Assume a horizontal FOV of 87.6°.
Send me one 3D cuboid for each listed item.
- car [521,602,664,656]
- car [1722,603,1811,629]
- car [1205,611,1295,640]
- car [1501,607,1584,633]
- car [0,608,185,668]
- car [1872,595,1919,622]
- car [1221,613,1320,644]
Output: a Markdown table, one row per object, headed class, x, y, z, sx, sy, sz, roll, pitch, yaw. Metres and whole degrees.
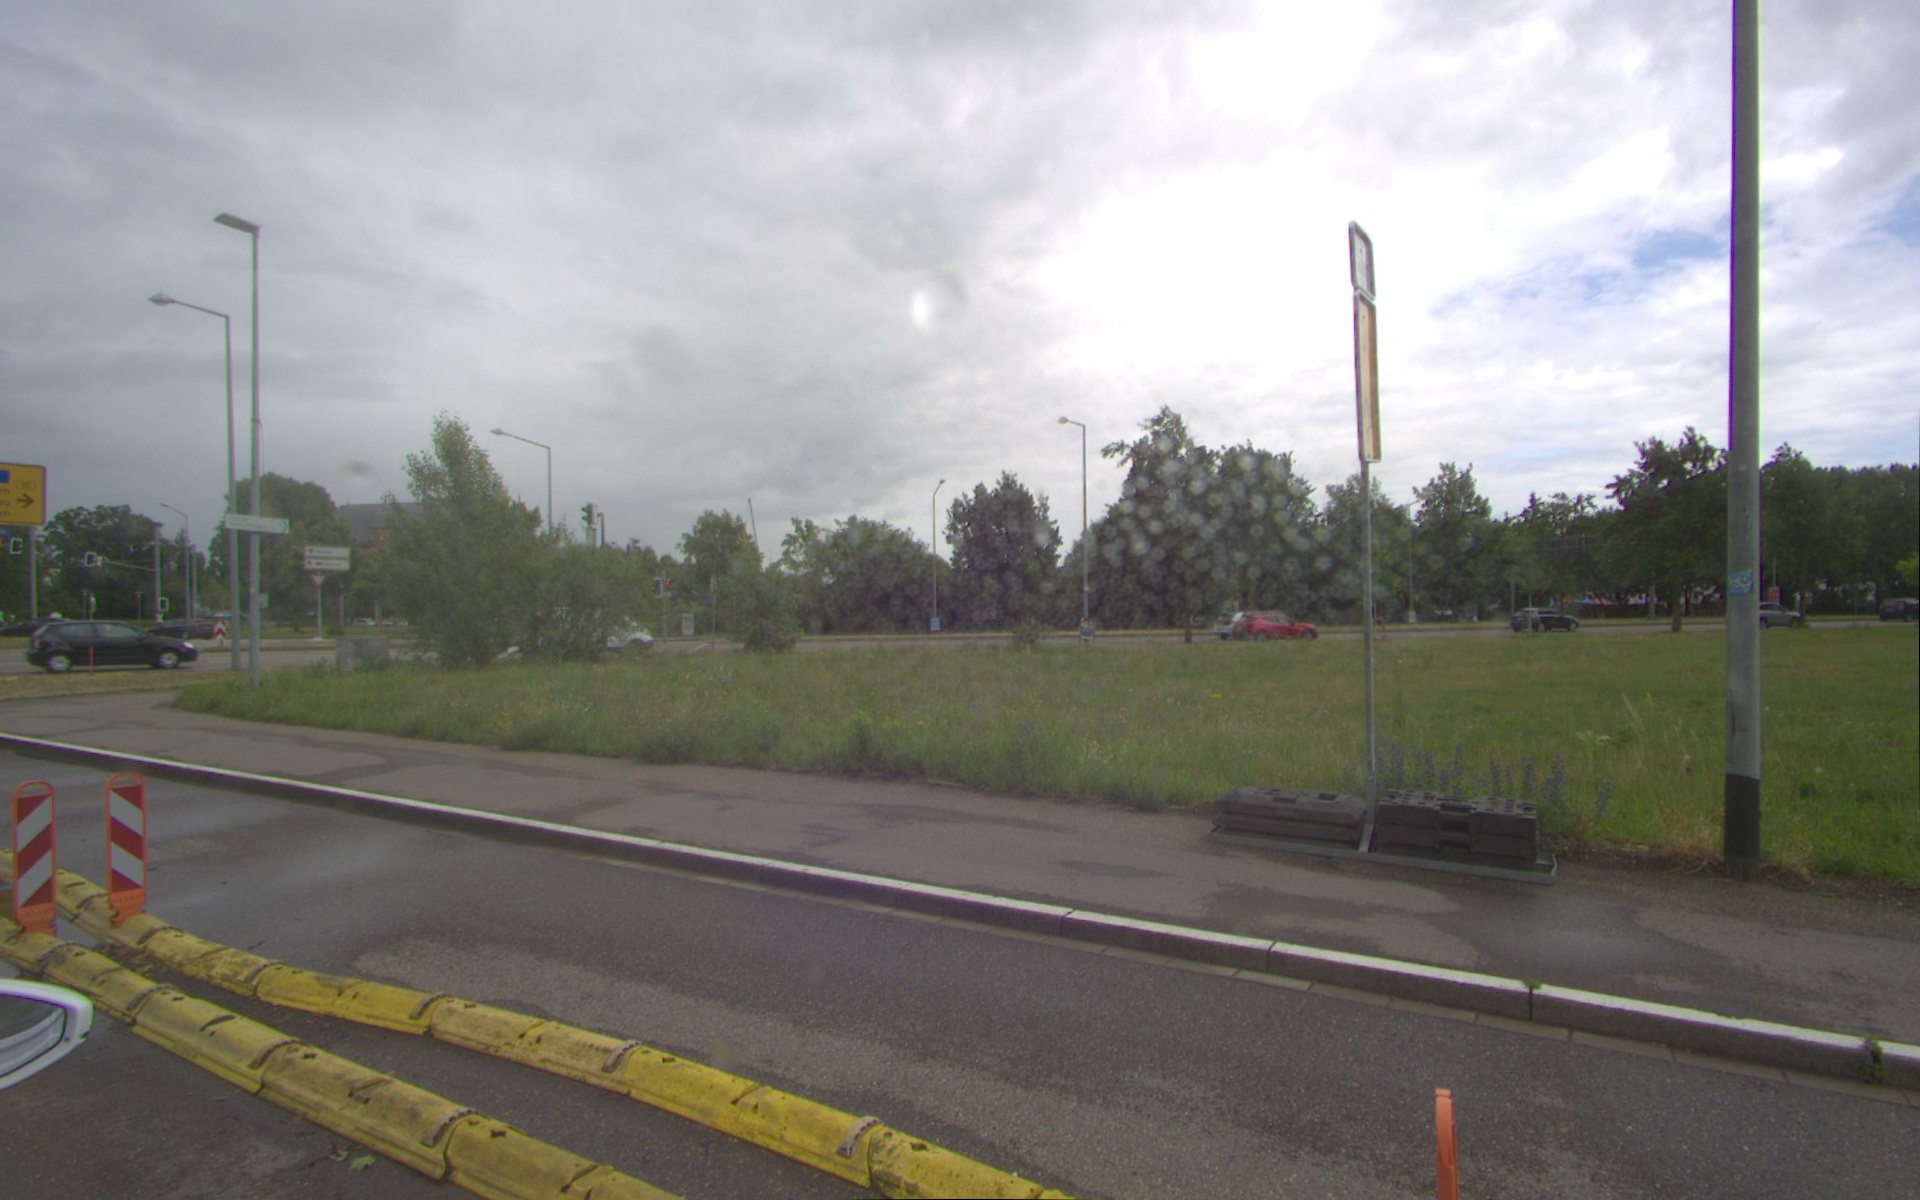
| class | x | y | z | sx | sy | sz | roll | pitch | yaw |
| --- | --- | --- | --- | --- | --- | --- | --- | --- | --- |
| car | -14.074 | 1.071 | 38.426 | 4.786 | 1.925 | 2.085 | 0 | 0 | -35 |
| car | 47.110 | 0.932 | 58.539 | 4.243 | 1.483 | 1.909 | 0 | 0 | -15 |
| car | 15.465 | 1.321 | 53.490 | 4.279 | 1.483 | 1.858 | 0 | 0 | -16 |
| car | 34.908 | 1.159 | 60.038 | 4.246 | 1.483 | 1.996 | 0 | 0 | -18 |
| car | -25.495 | 1.050 | 29.207 | 4.395 | 1.624 | 2.079 | 0 | 0 | -43 |
| car | 67.400 | 0.581 | 71.019 | 4.131 | 1.837 | 2.075 | 0 | 0 | -13 |
| car | 15.366 | 1.382 | 49.705 | 4.277 | 1.483 | 1.998 | 0 | 0 | -12 |
